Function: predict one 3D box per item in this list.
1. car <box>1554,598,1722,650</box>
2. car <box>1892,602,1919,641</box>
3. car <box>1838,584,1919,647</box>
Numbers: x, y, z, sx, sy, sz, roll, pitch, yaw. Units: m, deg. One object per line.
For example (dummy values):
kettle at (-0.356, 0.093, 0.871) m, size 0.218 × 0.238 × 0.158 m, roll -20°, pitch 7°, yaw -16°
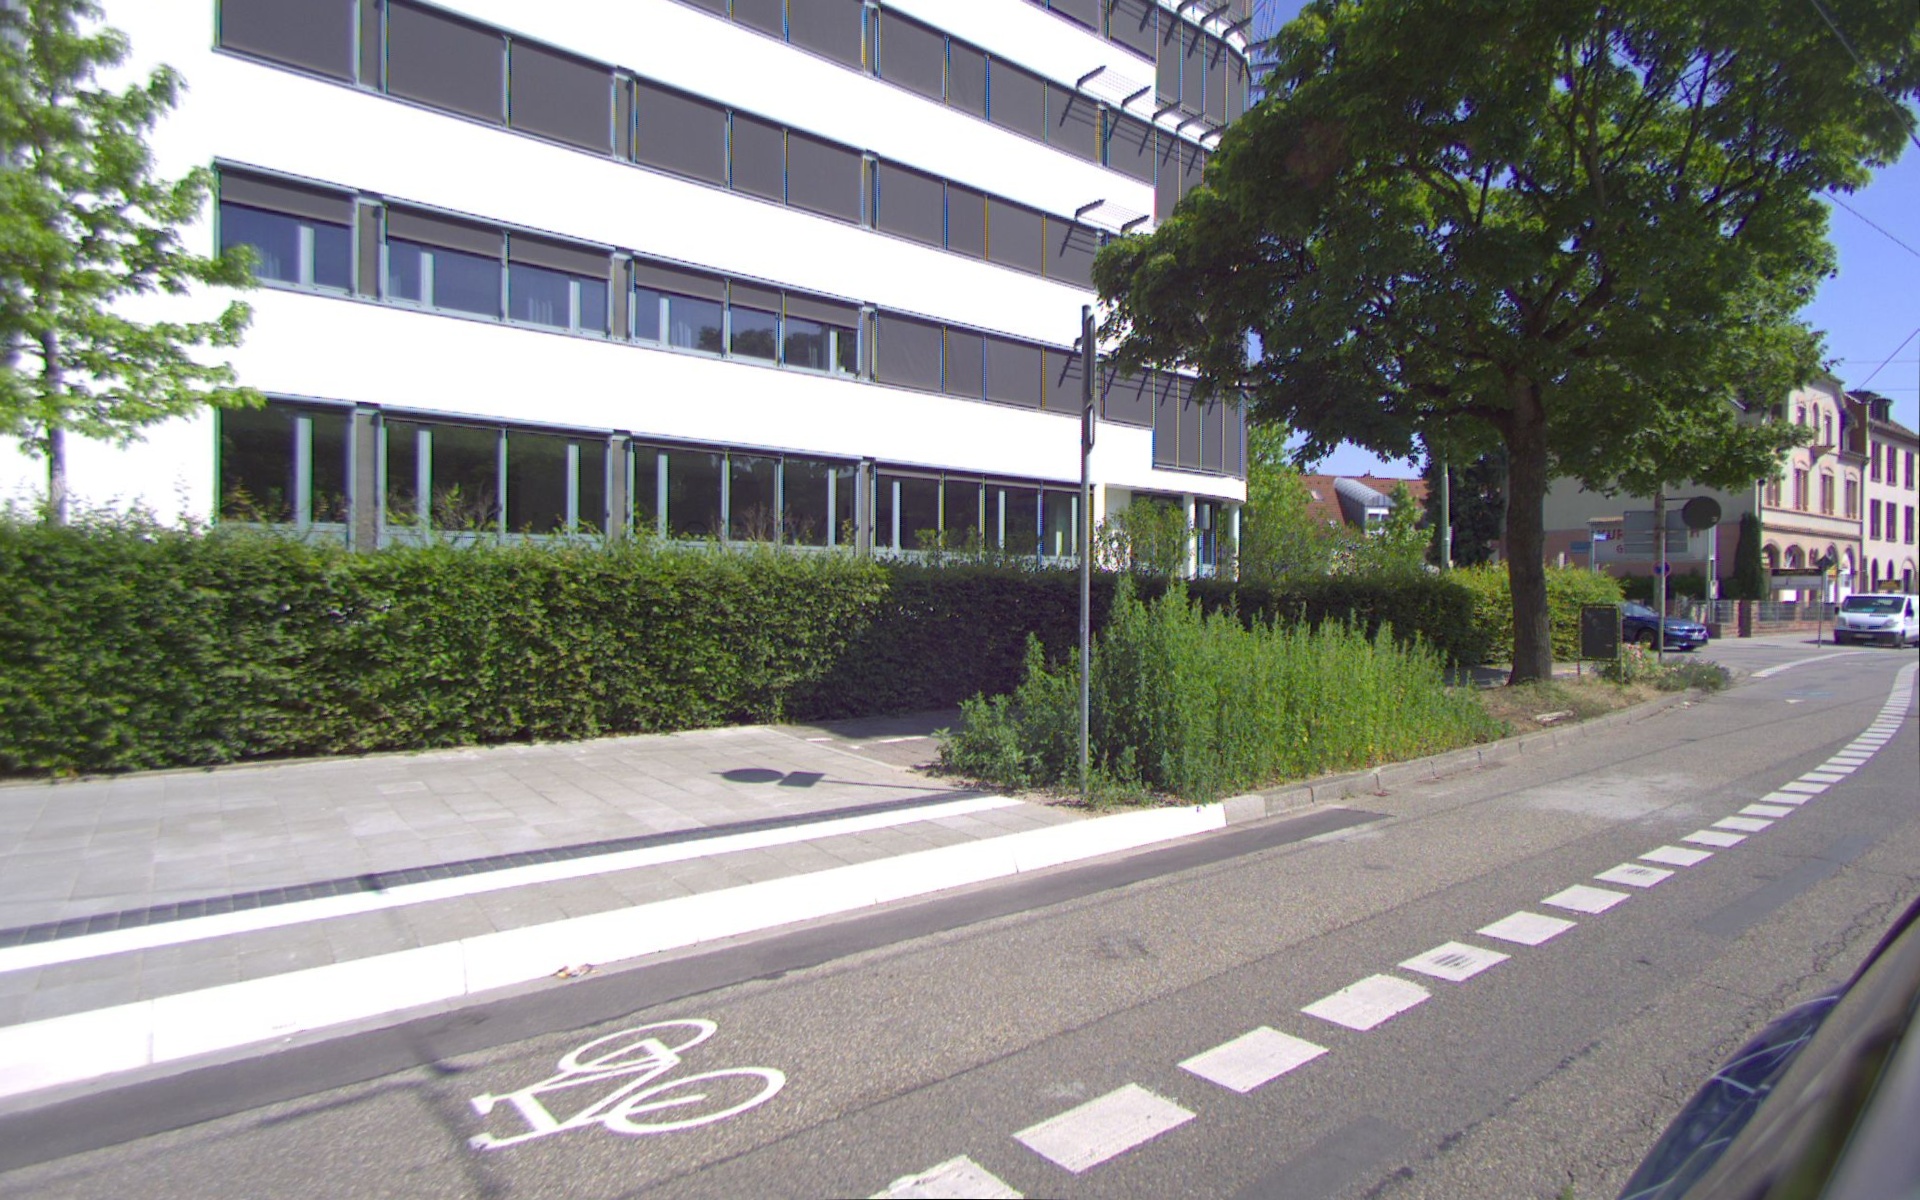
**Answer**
car at (19.695, 0.650, 29.532) m, size 1.640 × 1.405 × 3.756 m, roll 0°, pitch 0°, yaw -36°
car at (38.612, 0.836, 40.100) m, size 4.232 × 1.461 × 1.727 m, roll 0°, pitch 2°, yaw -37°
car at (33.710, 0.503, 36.489) m, size 5.094 × 2.080 × 1.983 m, roll 0°, pitch 2°, yaw -36°
